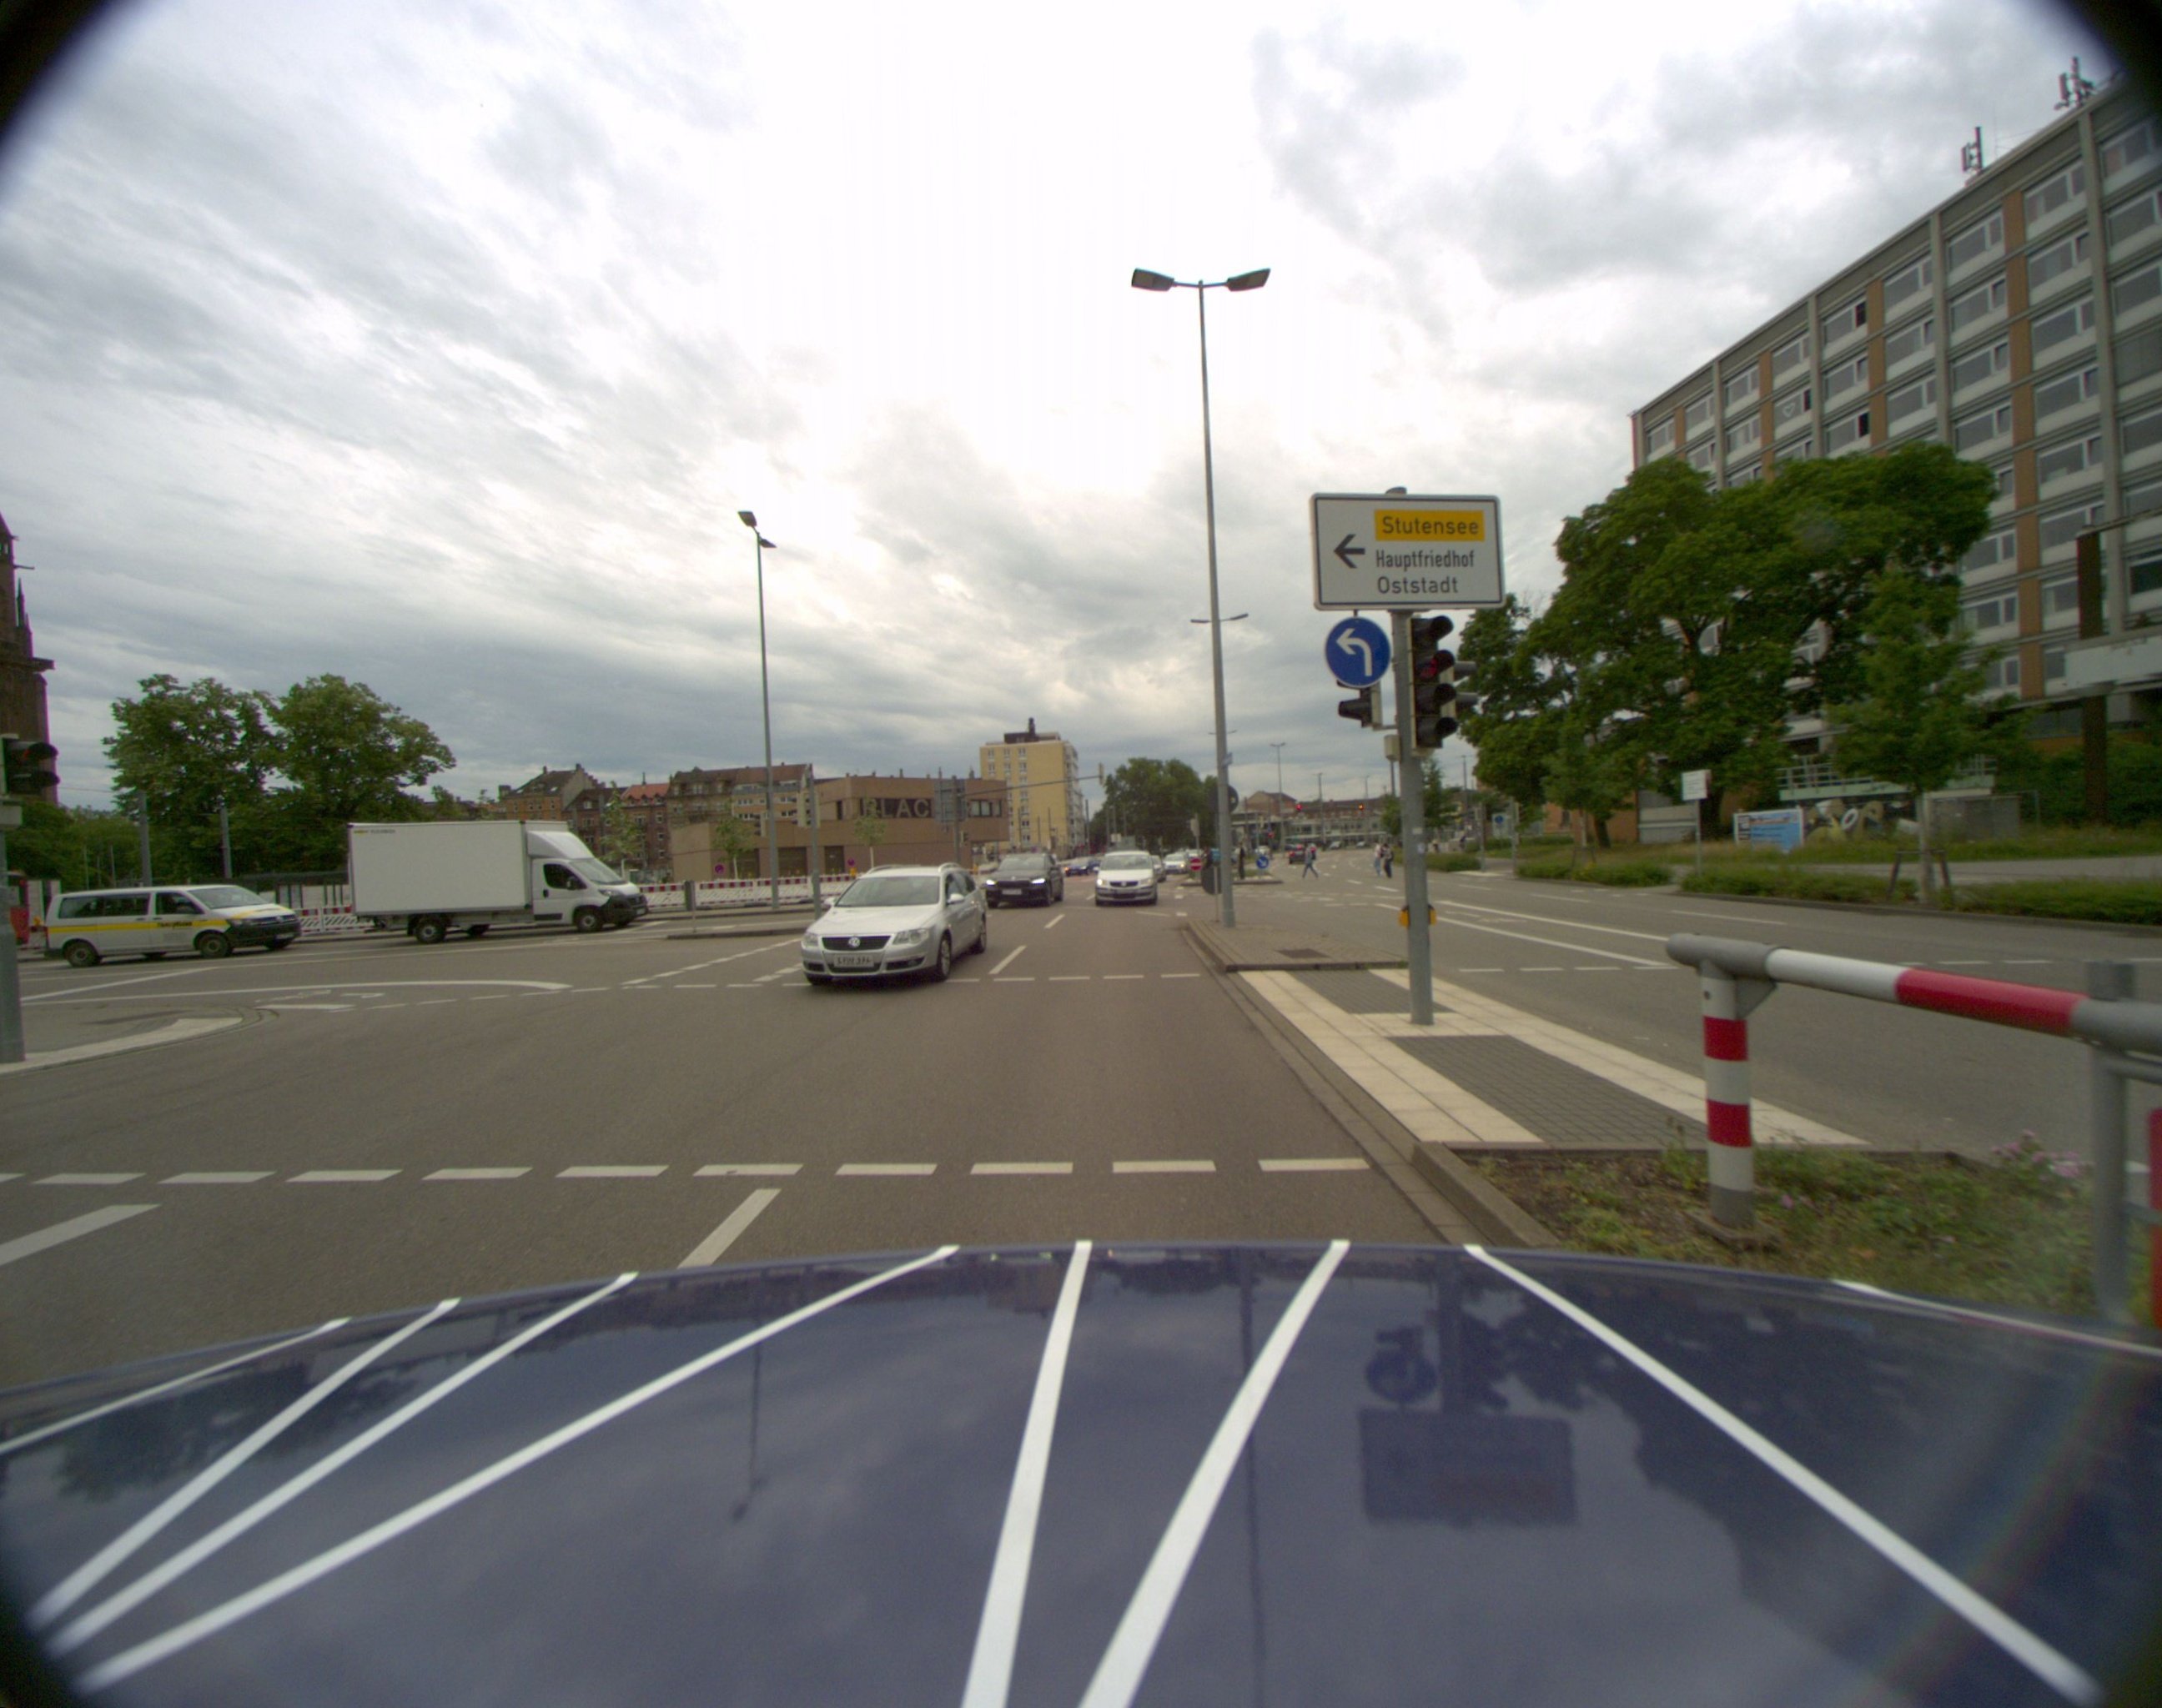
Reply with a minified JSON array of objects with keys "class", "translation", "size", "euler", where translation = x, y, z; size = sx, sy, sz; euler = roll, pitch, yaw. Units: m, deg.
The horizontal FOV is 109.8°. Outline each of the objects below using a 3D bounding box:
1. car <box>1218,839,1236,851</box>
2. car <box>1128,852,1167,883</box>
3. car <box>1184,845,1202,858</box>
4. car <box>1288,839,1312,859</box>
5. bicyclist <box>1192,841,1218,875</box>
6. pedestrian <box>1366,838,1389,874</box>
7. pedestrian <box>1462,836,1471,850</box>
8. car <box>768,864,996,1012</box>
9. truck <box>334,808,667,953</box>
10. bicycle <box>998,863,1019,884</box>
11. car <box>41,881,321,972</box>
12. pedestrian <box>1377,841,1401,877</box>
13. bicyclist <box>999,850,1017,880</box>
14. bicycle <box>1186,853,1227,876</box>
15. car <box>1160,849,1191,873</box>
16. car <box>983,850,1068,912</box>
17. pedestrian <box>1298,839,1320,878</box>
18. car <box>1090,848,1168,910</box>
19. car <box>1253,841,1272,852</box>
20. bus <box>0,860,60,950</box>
[{"class":"car","translation":[21.108,-1.282,109.506],"size":[1.802,1.586,3.764],"euler":[-1,0,22]},{"class":"car","translation":[3.637,0.664,40.739],"size":[1.725,1.406,4.247],"euler":[-4,0,9]},{"class":"car","translation":[13.802,-0.284,93.363],"size":[1.817,1.466,4.036],"euler":[-1,0,13]},{"class":"car","translation":[19.657,-0.448,68.131],"size":[1.813,1.658,3.953],"euler":[-1,2,19]},{"class":"bicyclist","translation":[6.492,0.224,39.838],"size":[1.191,1.725,0.806],"euler":[-2,1,-1]},{"class":"pedestrian","translation":[14.998,0.089,38.484],"size":[0.769,1.794,0.739],"euler":[-2,1,-25]},{"class":"pedestrian","translation":[42.360,-1.211,83.484],"size":[0.653,1.611,0.471],"euler":[-2,1,5]},{"class":"car","translation":[-2.535,1.002,10.959],"size":[1.829,1.541,4.527],"euler":[-2,1,3]},{"class":"truck","translation":[-16.061,0.626,21.537],"size":[6.854,3.393,2.558],"euler":[-4,3,-8]},{"class":"bicycle","translation":[-4.027,1.074,42.348],"size":[0.693,1.123,1.869],"euler":[-1,0,10]},{"class":"car","translation":[-24.039,1.889,20.484],"size":[4.713,1.909,1.919],"euler":[-3,2,-6]},{"class":"pedestrian","translation":[14.616,0.227,36.087],"size":[0.778,1.657,0.706],"euler":[-2,1,-11]},{"class":"bicyclist","translation":[-4.059,0.587,42.260],"size":[0.693,1.626,0.885],"euler":[-1,1,10]},{"class":"bicycle","translation":[6.558,0.555,39.843],"size":[2.005,1.136,0.806],"euler":[-2,1,-1]},{"class":"car","translation":[6.952,0.497,55.449],"size":[1.784,1.455,3.873],"euler":[-4,1,12]},{"class":"car","translation":[-1.616,0.761,23.904],"size":[1.911,1.615,4.491],"euler":[-3,1,5]},{"class":"pedestrian","translation":[10.807,0.200,36.022],"size":[0.918,1.794,0.541],"euler":[-1,1,13]},{"class":"car","translation":[1.349,0.688,23.136],"size":[1.734,1.594,4.103],"euler":[-4,1,-4]},{"class":"car","translation":[30.066,-1.224,125.731],"size":[1.995,1.805,4.007],"euler":[-1,0,29]},{"class":"bus","translation":[-40.881,2.005,23.836],"size":[12.094,2.891,2.936],"euler":[-4,1,-7]}]
